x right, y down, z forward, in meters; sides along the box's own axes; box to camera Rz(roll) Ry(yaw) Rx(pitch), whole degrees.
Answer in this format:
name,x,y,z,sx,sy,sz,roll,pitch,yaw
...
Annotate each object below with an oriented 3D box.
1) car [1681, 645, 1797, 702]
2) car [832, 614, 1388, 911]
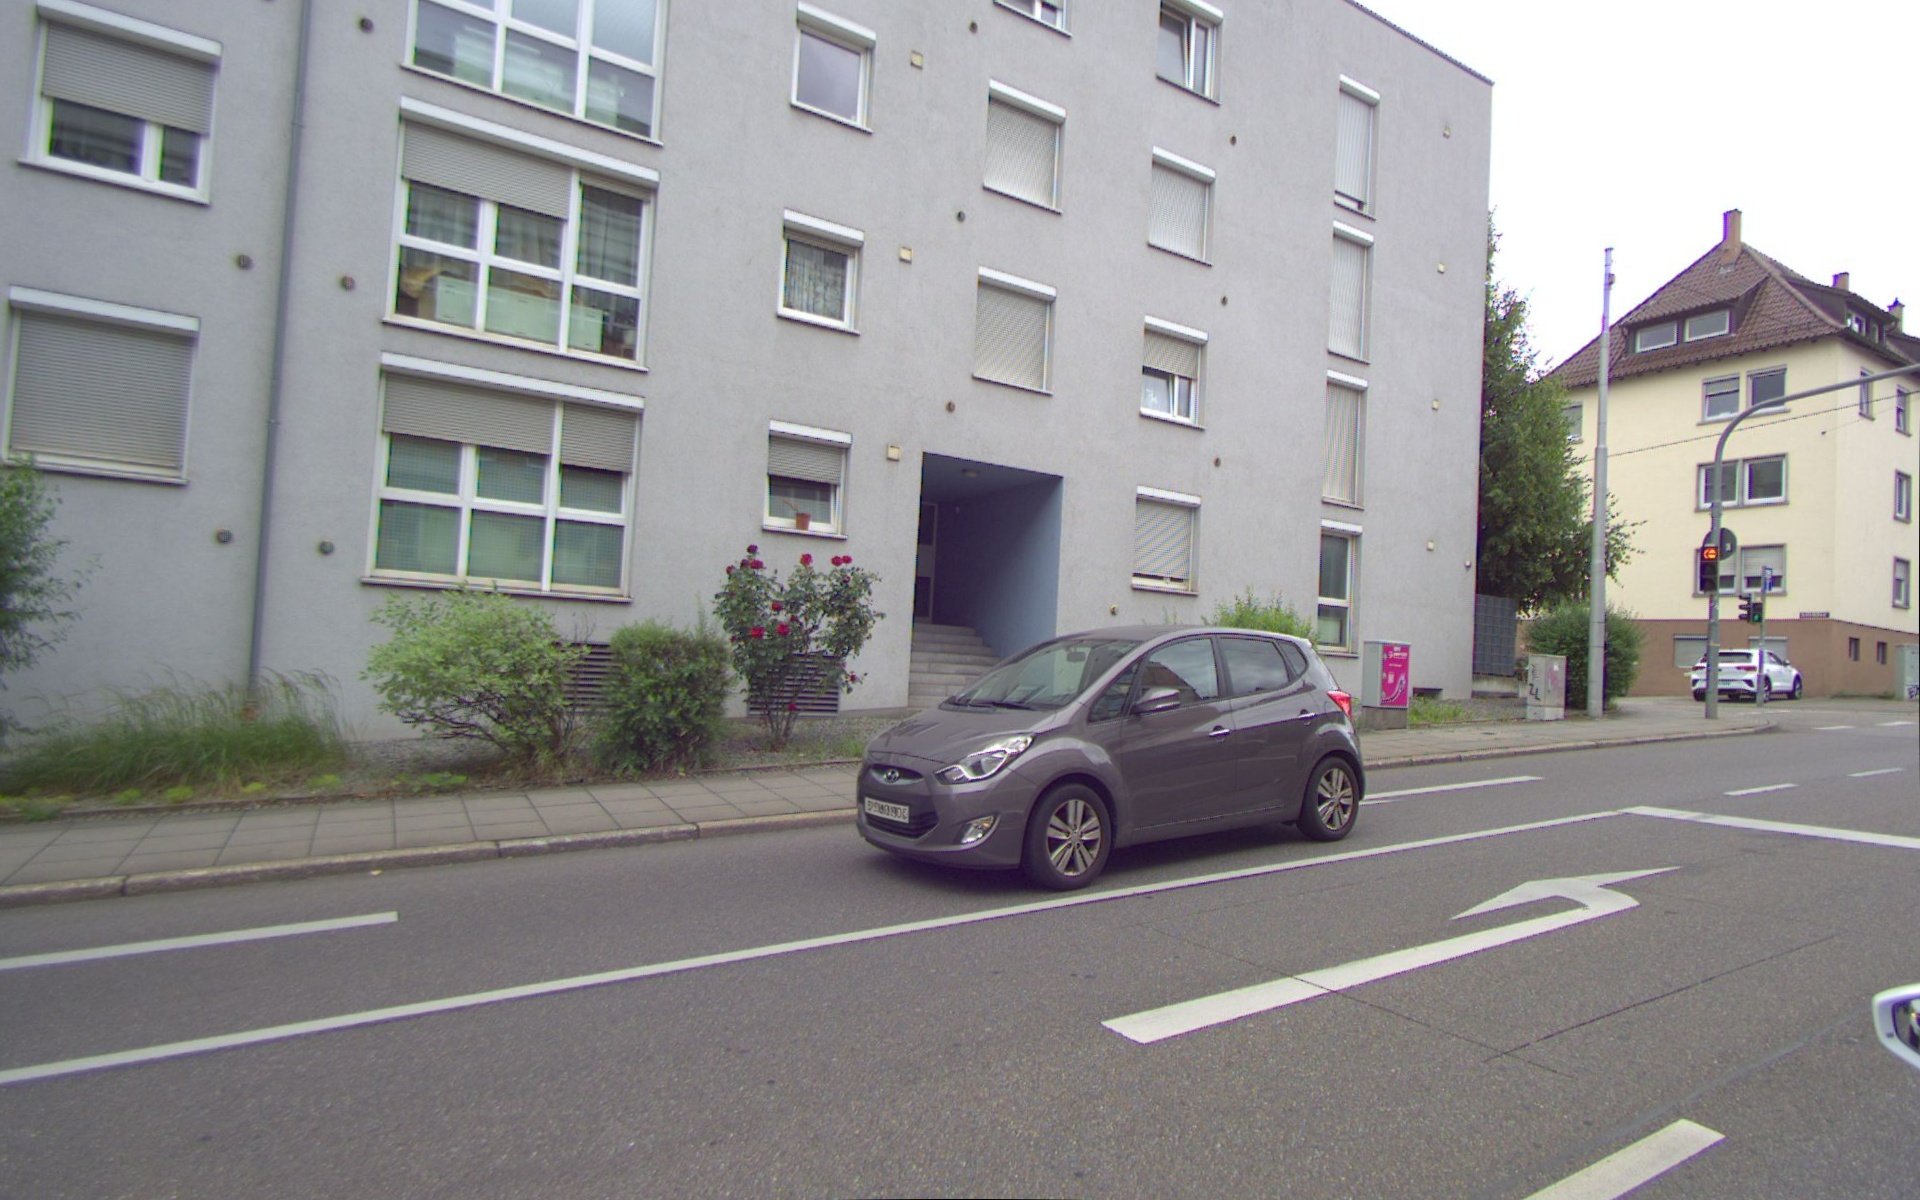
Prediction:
name,x,y,z,sx,sy,sz,roll,pitch,yaw
car,23.559,2.185,30.354,3.727,1.575,1.681,1,-4,-34
car,1.192,0.973,7.290,3.897,1.607,1.693,2,-4,-35
